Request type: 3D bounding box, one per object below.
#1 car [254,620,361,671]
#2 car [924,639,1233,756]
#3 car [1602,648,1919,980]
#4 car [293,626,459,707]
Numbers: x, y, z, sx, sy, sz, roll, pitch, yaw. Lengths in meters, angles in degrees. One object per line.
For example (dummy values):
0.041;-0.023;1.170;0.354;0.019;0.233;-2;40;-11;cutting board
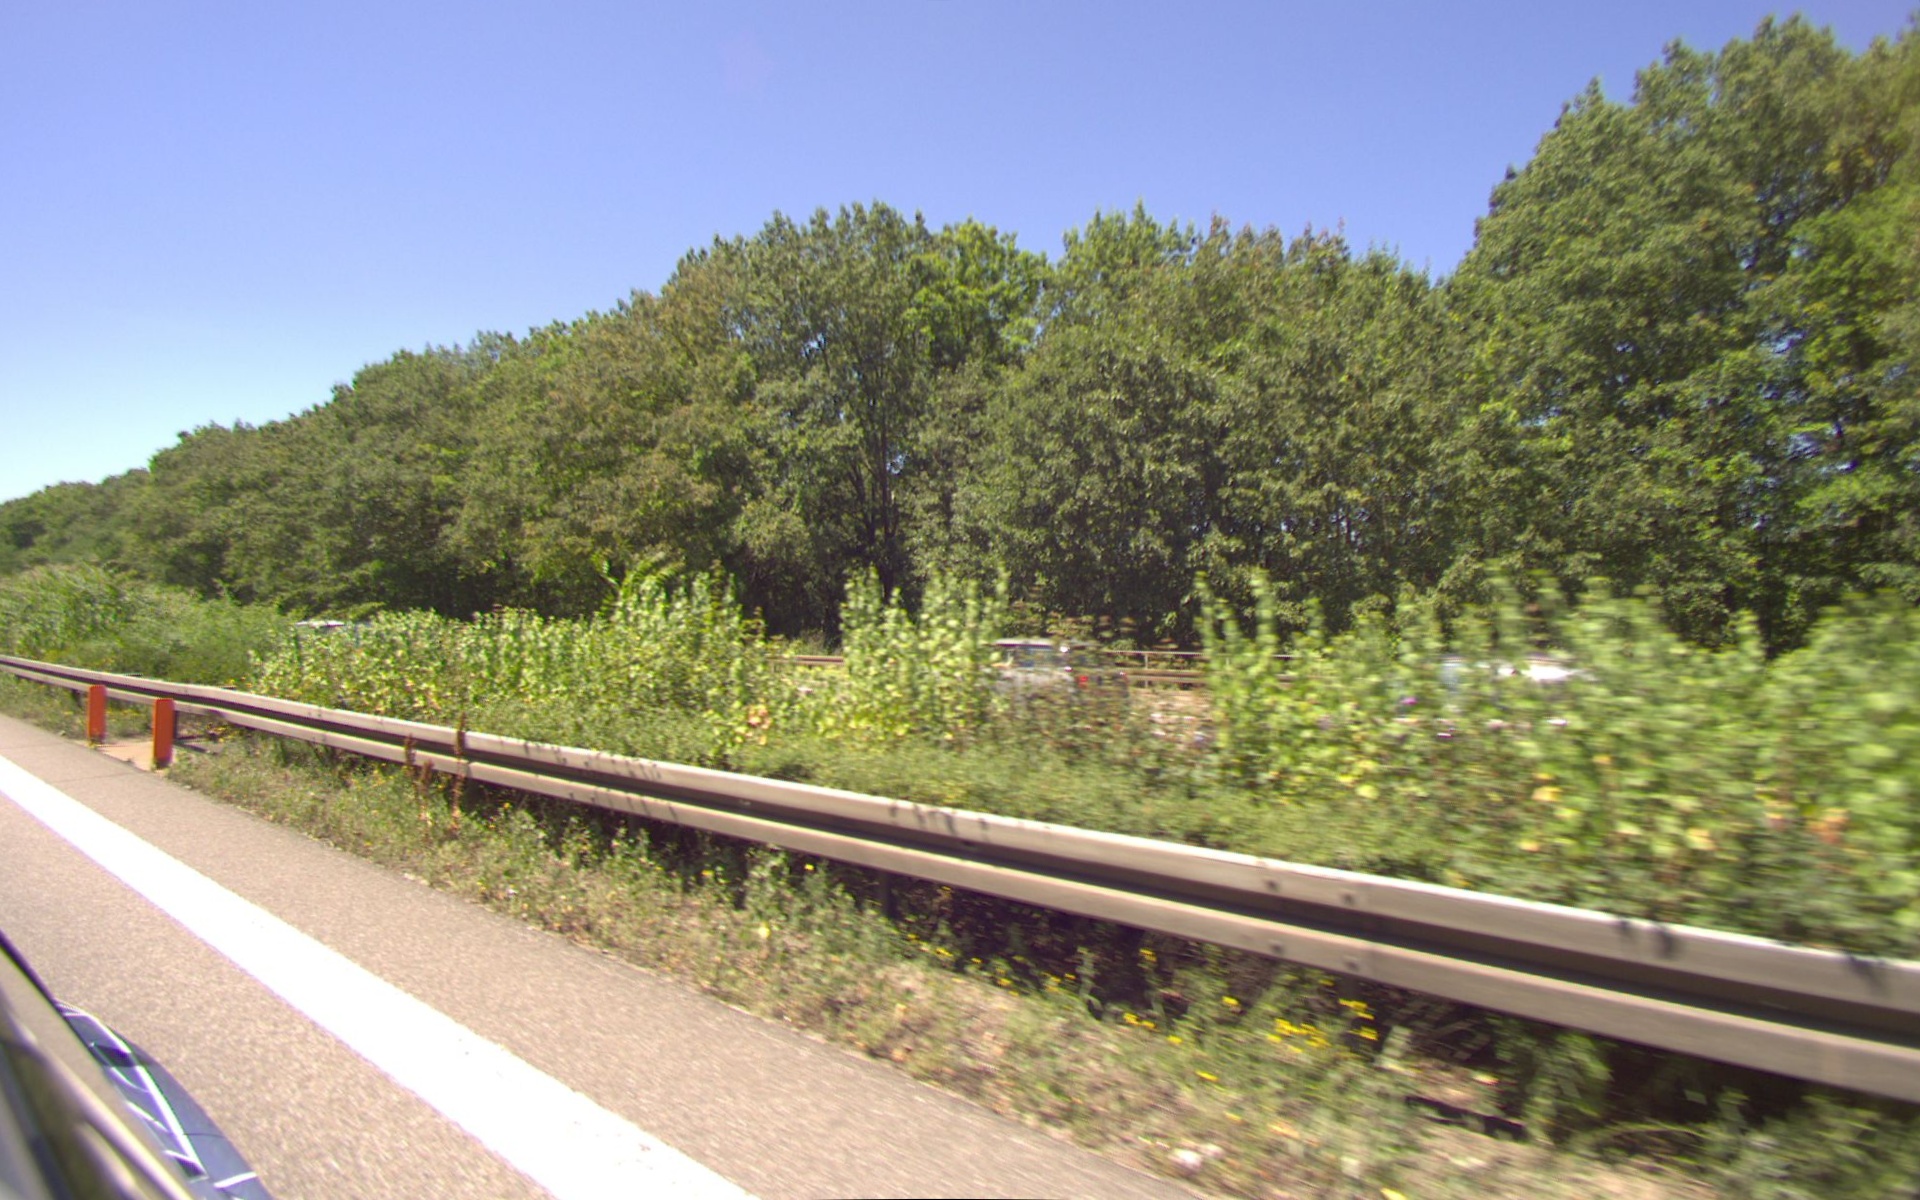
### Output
-22.442;1.512;34.749;4.337;1.632;1.792;-1;-2;39;car
1.653;1.327;15.004;4.337;1.426;1.692;-1;-2;39;car
6.177;1.200;5.819;3.997;1.733;1.758;-1;-1;40;car
-13.285;1.432;22.932;4.337;1.632;1.792;-1;-2;39;car
